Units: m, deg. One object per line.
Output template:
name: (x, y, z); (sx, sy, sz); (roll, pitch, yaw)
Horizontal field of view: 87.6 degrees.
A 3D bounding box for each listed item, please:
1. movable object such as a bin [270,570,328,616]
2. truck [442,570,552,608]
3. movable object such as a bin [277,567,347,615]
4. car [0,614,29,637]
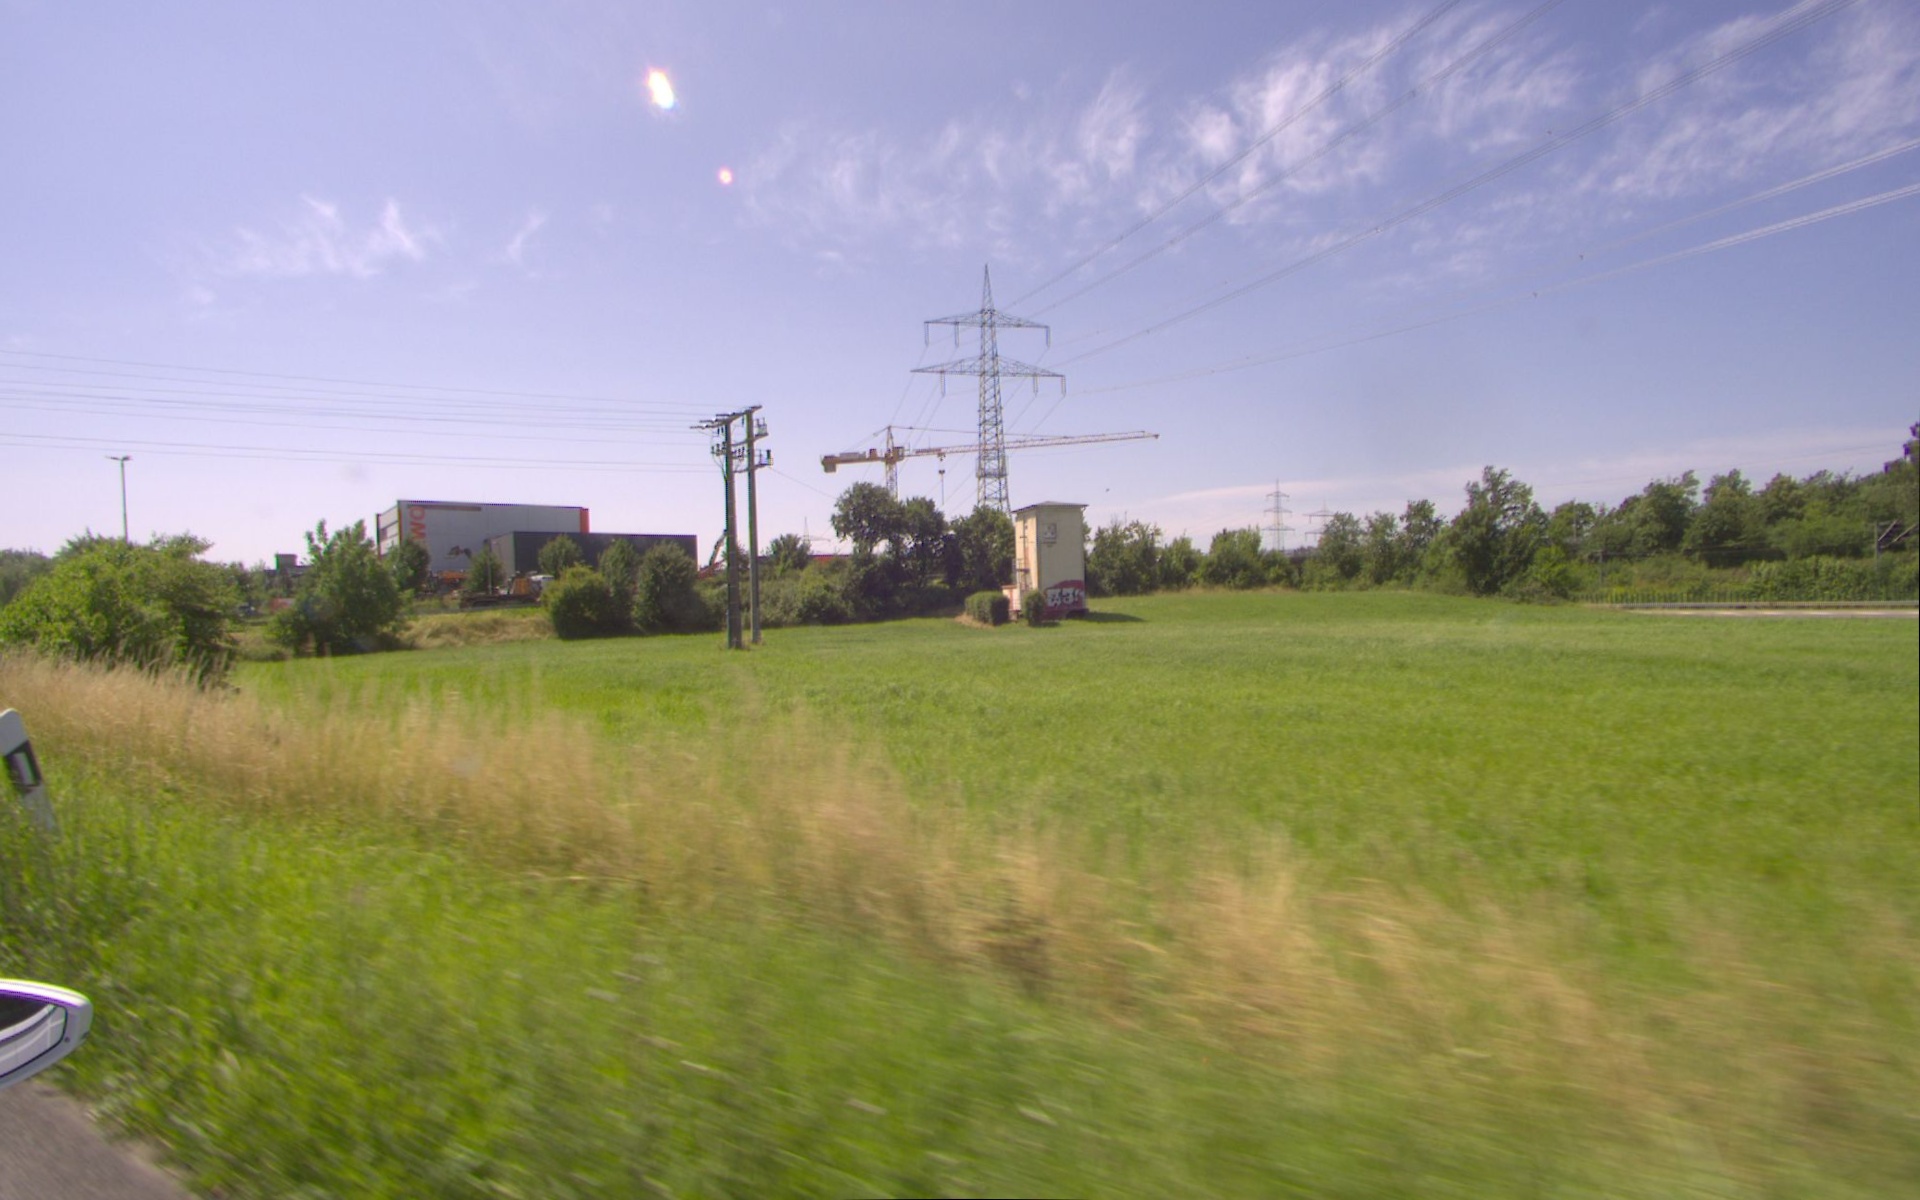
movable object such as a bin: (-80.587, -0.840, 122.087); (5.668, 5.335, 3.198); (0, -2, -39)
truck: (-42.379, -0.922, 91.923); (3.069, 3.176, 8.746); (-3, -2, 36)
movable object such as a bin: (-74.690, -0.964, 115.444); (6.536, 5.212, 3.778); (0, -2, -39)
car: (-71.252, 1.920, 75.208); (1.791, 1.577, 3.963); (-2, 2, -41)
